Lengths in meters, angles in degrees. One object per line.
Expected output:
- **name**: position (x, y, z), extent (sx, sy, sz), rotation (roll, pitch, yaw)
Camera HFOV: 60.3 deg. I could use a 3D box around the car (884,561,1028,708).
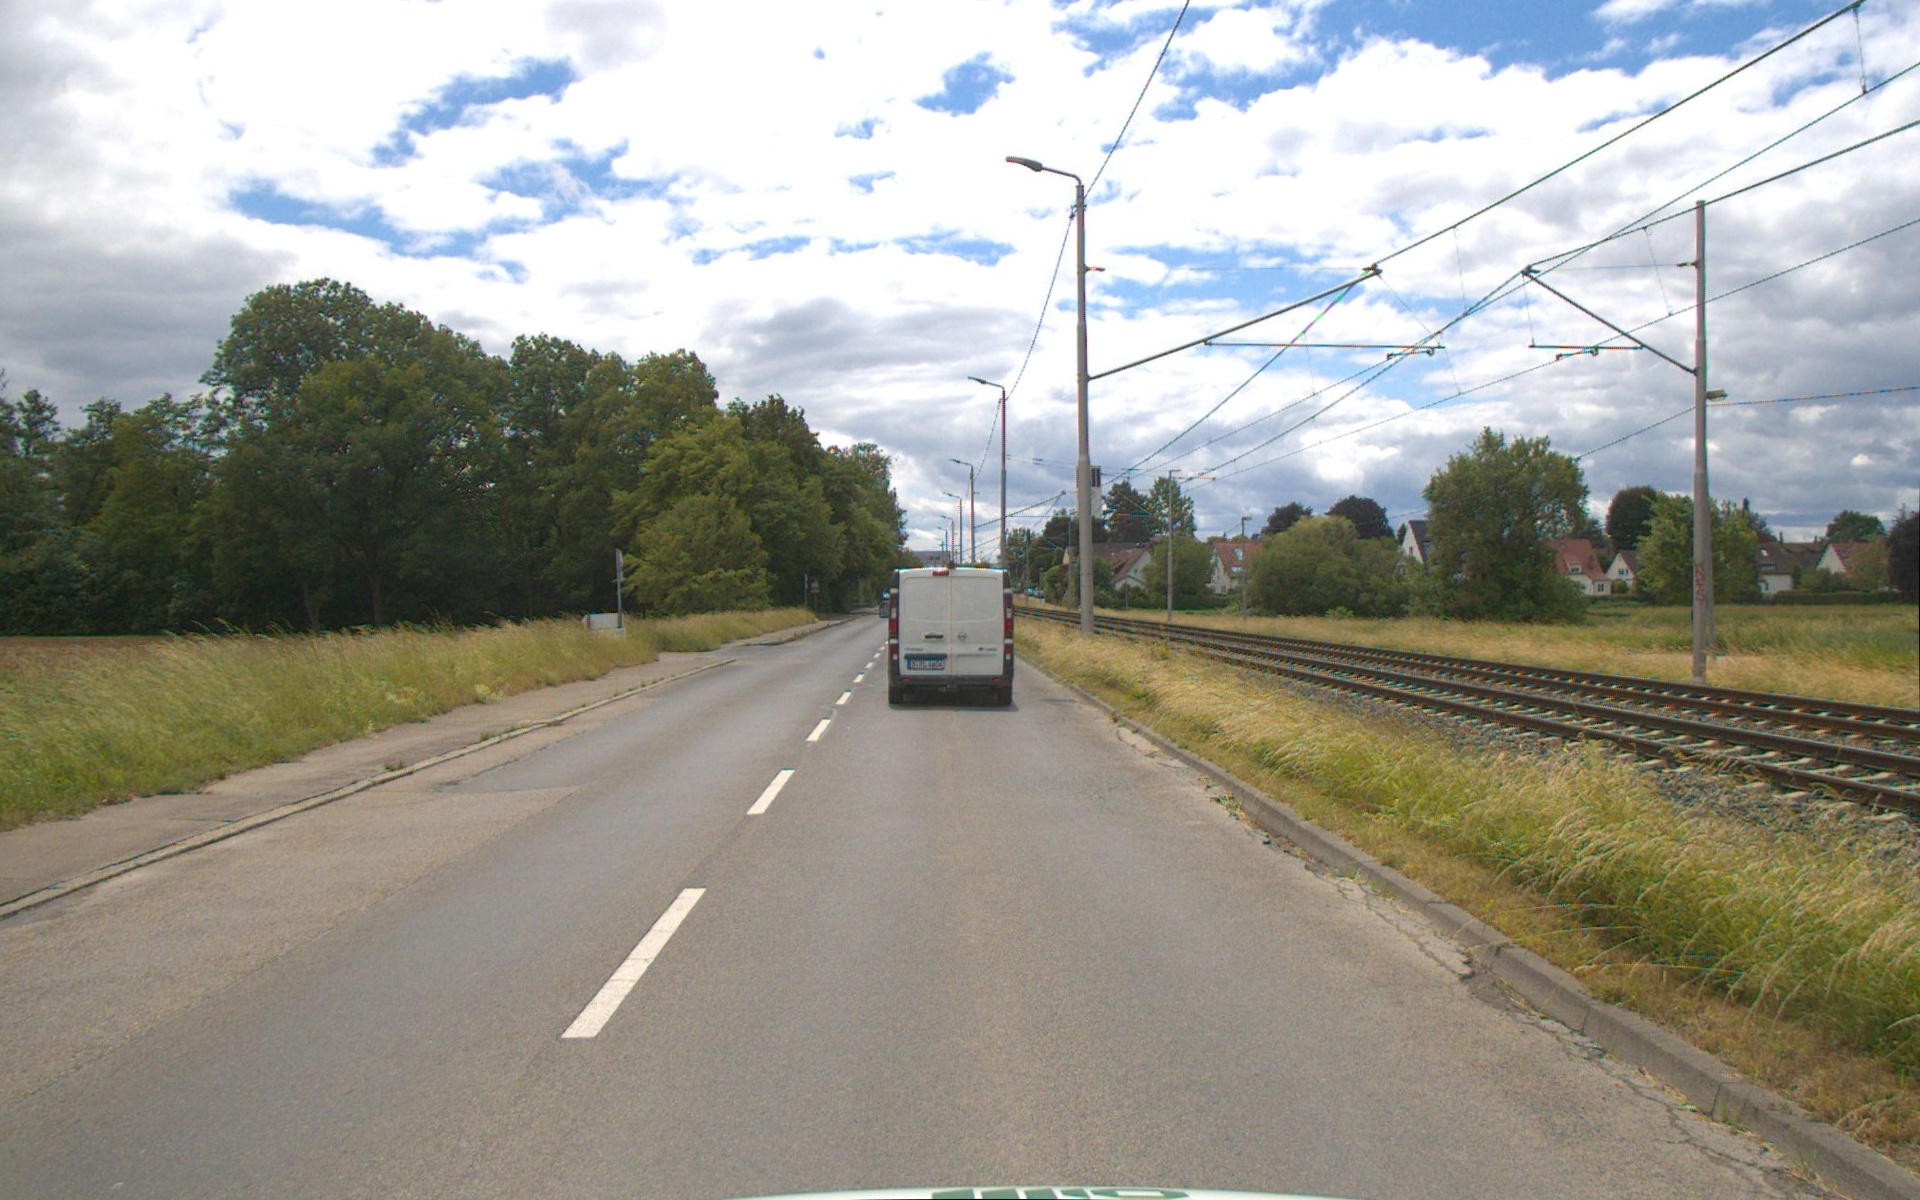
- **car**: position (-0.133, 0.494, 25.142), extent (1.953, 1.991, 3.998), rotation (2, 0, -2)
